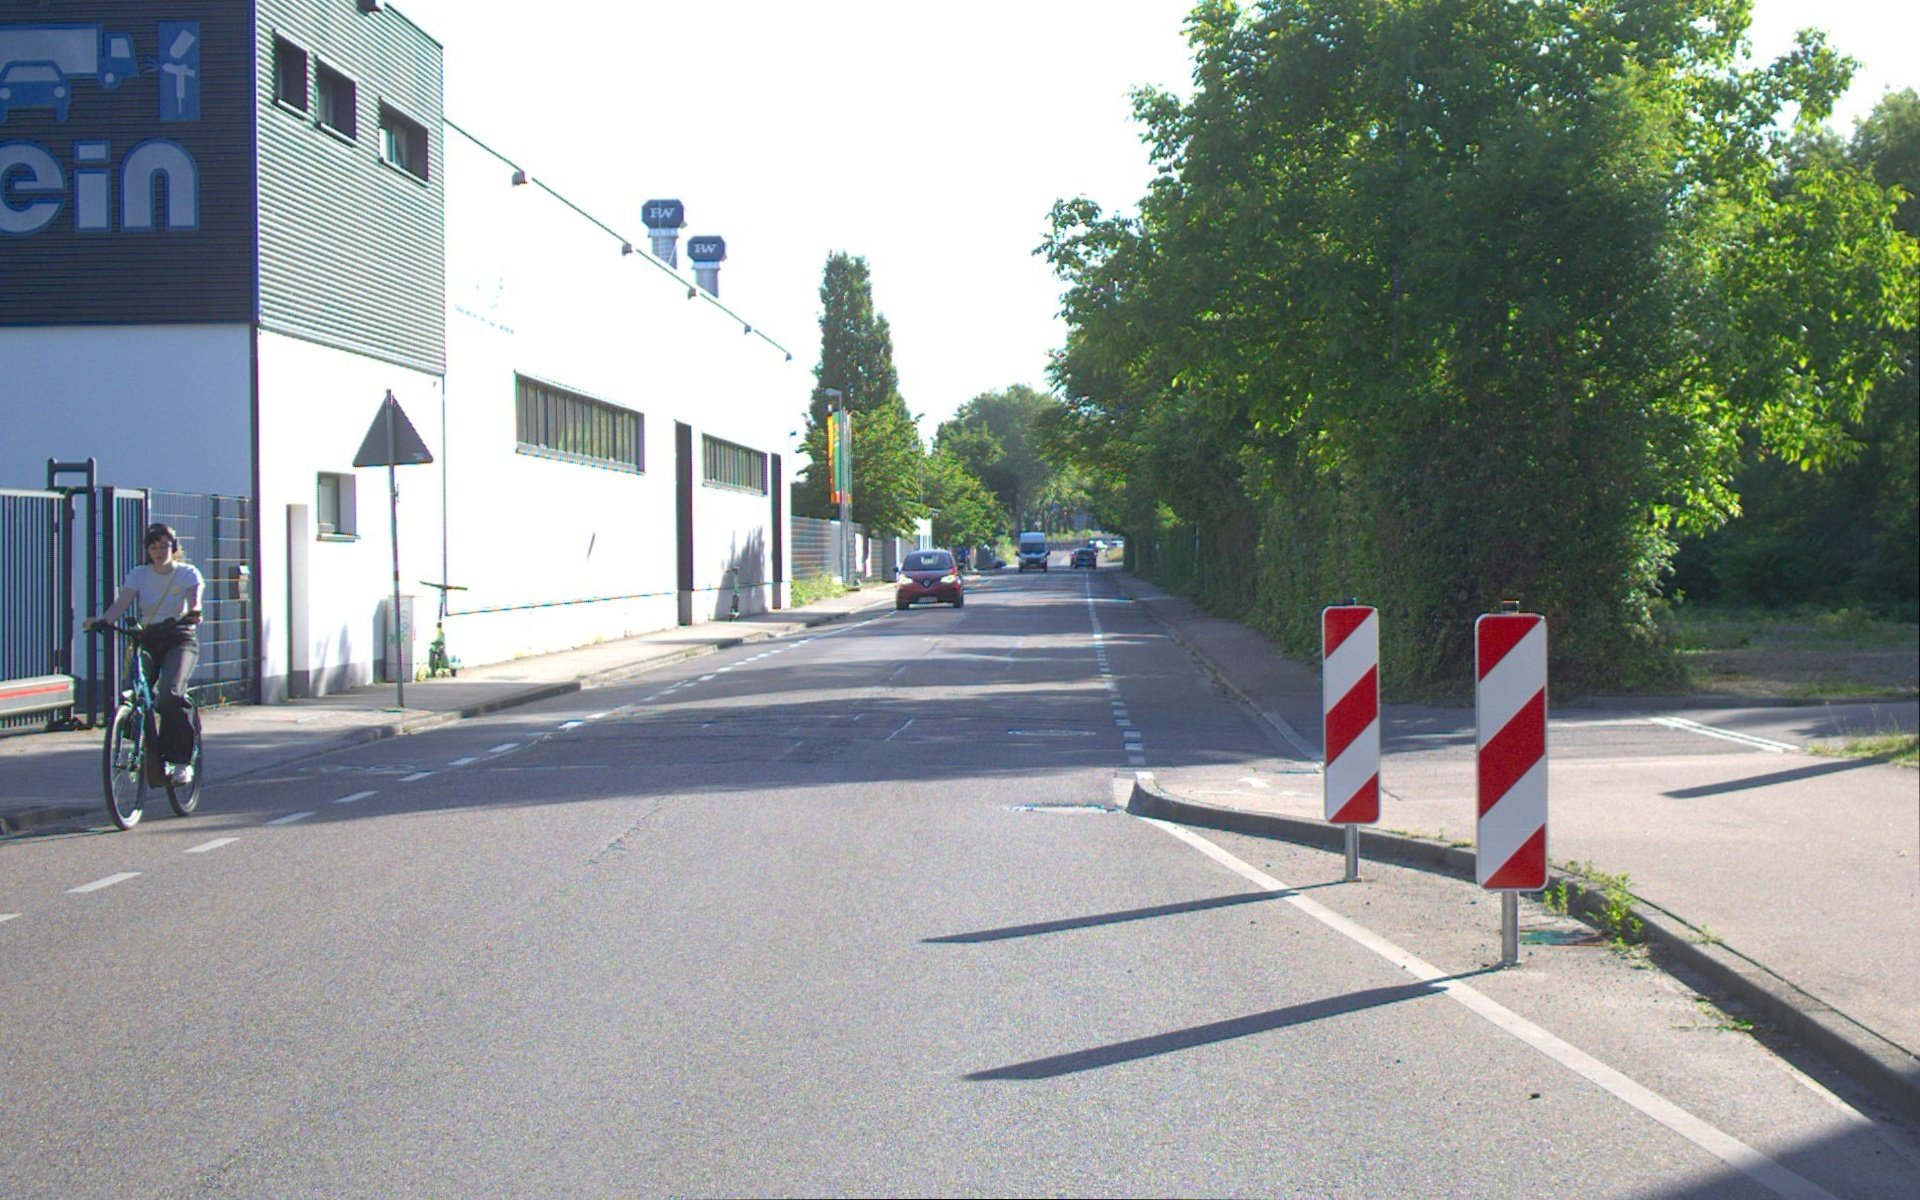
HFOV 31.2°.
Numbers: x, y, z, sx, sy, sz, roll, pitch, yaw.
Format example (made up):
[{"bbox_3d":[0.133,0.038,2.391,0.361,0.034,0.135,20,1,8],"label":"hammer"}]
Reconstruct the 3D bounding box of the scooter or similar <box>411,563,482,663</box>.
[{"bbox_3d":[-6.440,0.151,43.169,0.507,1.199,1.753,3,1,2],"label":"scooter or similar"}]

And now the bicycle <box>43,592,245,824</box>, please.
[{"bbox_3d":[-4.885,0.615,20.721,0.667,1.284,2.172,-1,1,1],"label":"bicycle"}]

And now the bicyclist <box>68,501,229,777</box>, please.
[{"bbox_3d":[-4.877,0.225,20.716,0.746,1.622,0.833,-1,1,1],"label":"bicyclist"}]

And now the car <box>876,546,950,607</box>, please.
[{"bbox_3d":[-1.238,-0.649,92.094,1.817,1.484,4.000,-4,1,0],"label":"car"}]

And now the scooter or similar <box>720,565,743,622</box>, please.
[{"bbox_3d":[-5.147,-0.157,77.432,0.416,1.263,1.059,0,1,2],"label":"scooter or similar"}]

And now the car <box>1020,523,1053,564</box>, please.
[{"bbox_3d":[5.399,-3.951,241.353,2.123,2.771,5.926,-2,1,2],"label":"car"}]

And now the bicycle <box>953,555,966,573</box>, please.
[{"bbox_3d":[-0.033,-2.089,198.099,0.689,1.030,1.351,1,1,2],"label":"bicycle"}]

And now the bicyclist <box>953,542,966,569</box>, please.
[{"bbox_3d":[-0.025,-2.580,198.048,0.689,1.526,0.722,1,1,2],"label":"bicyclist"}]
